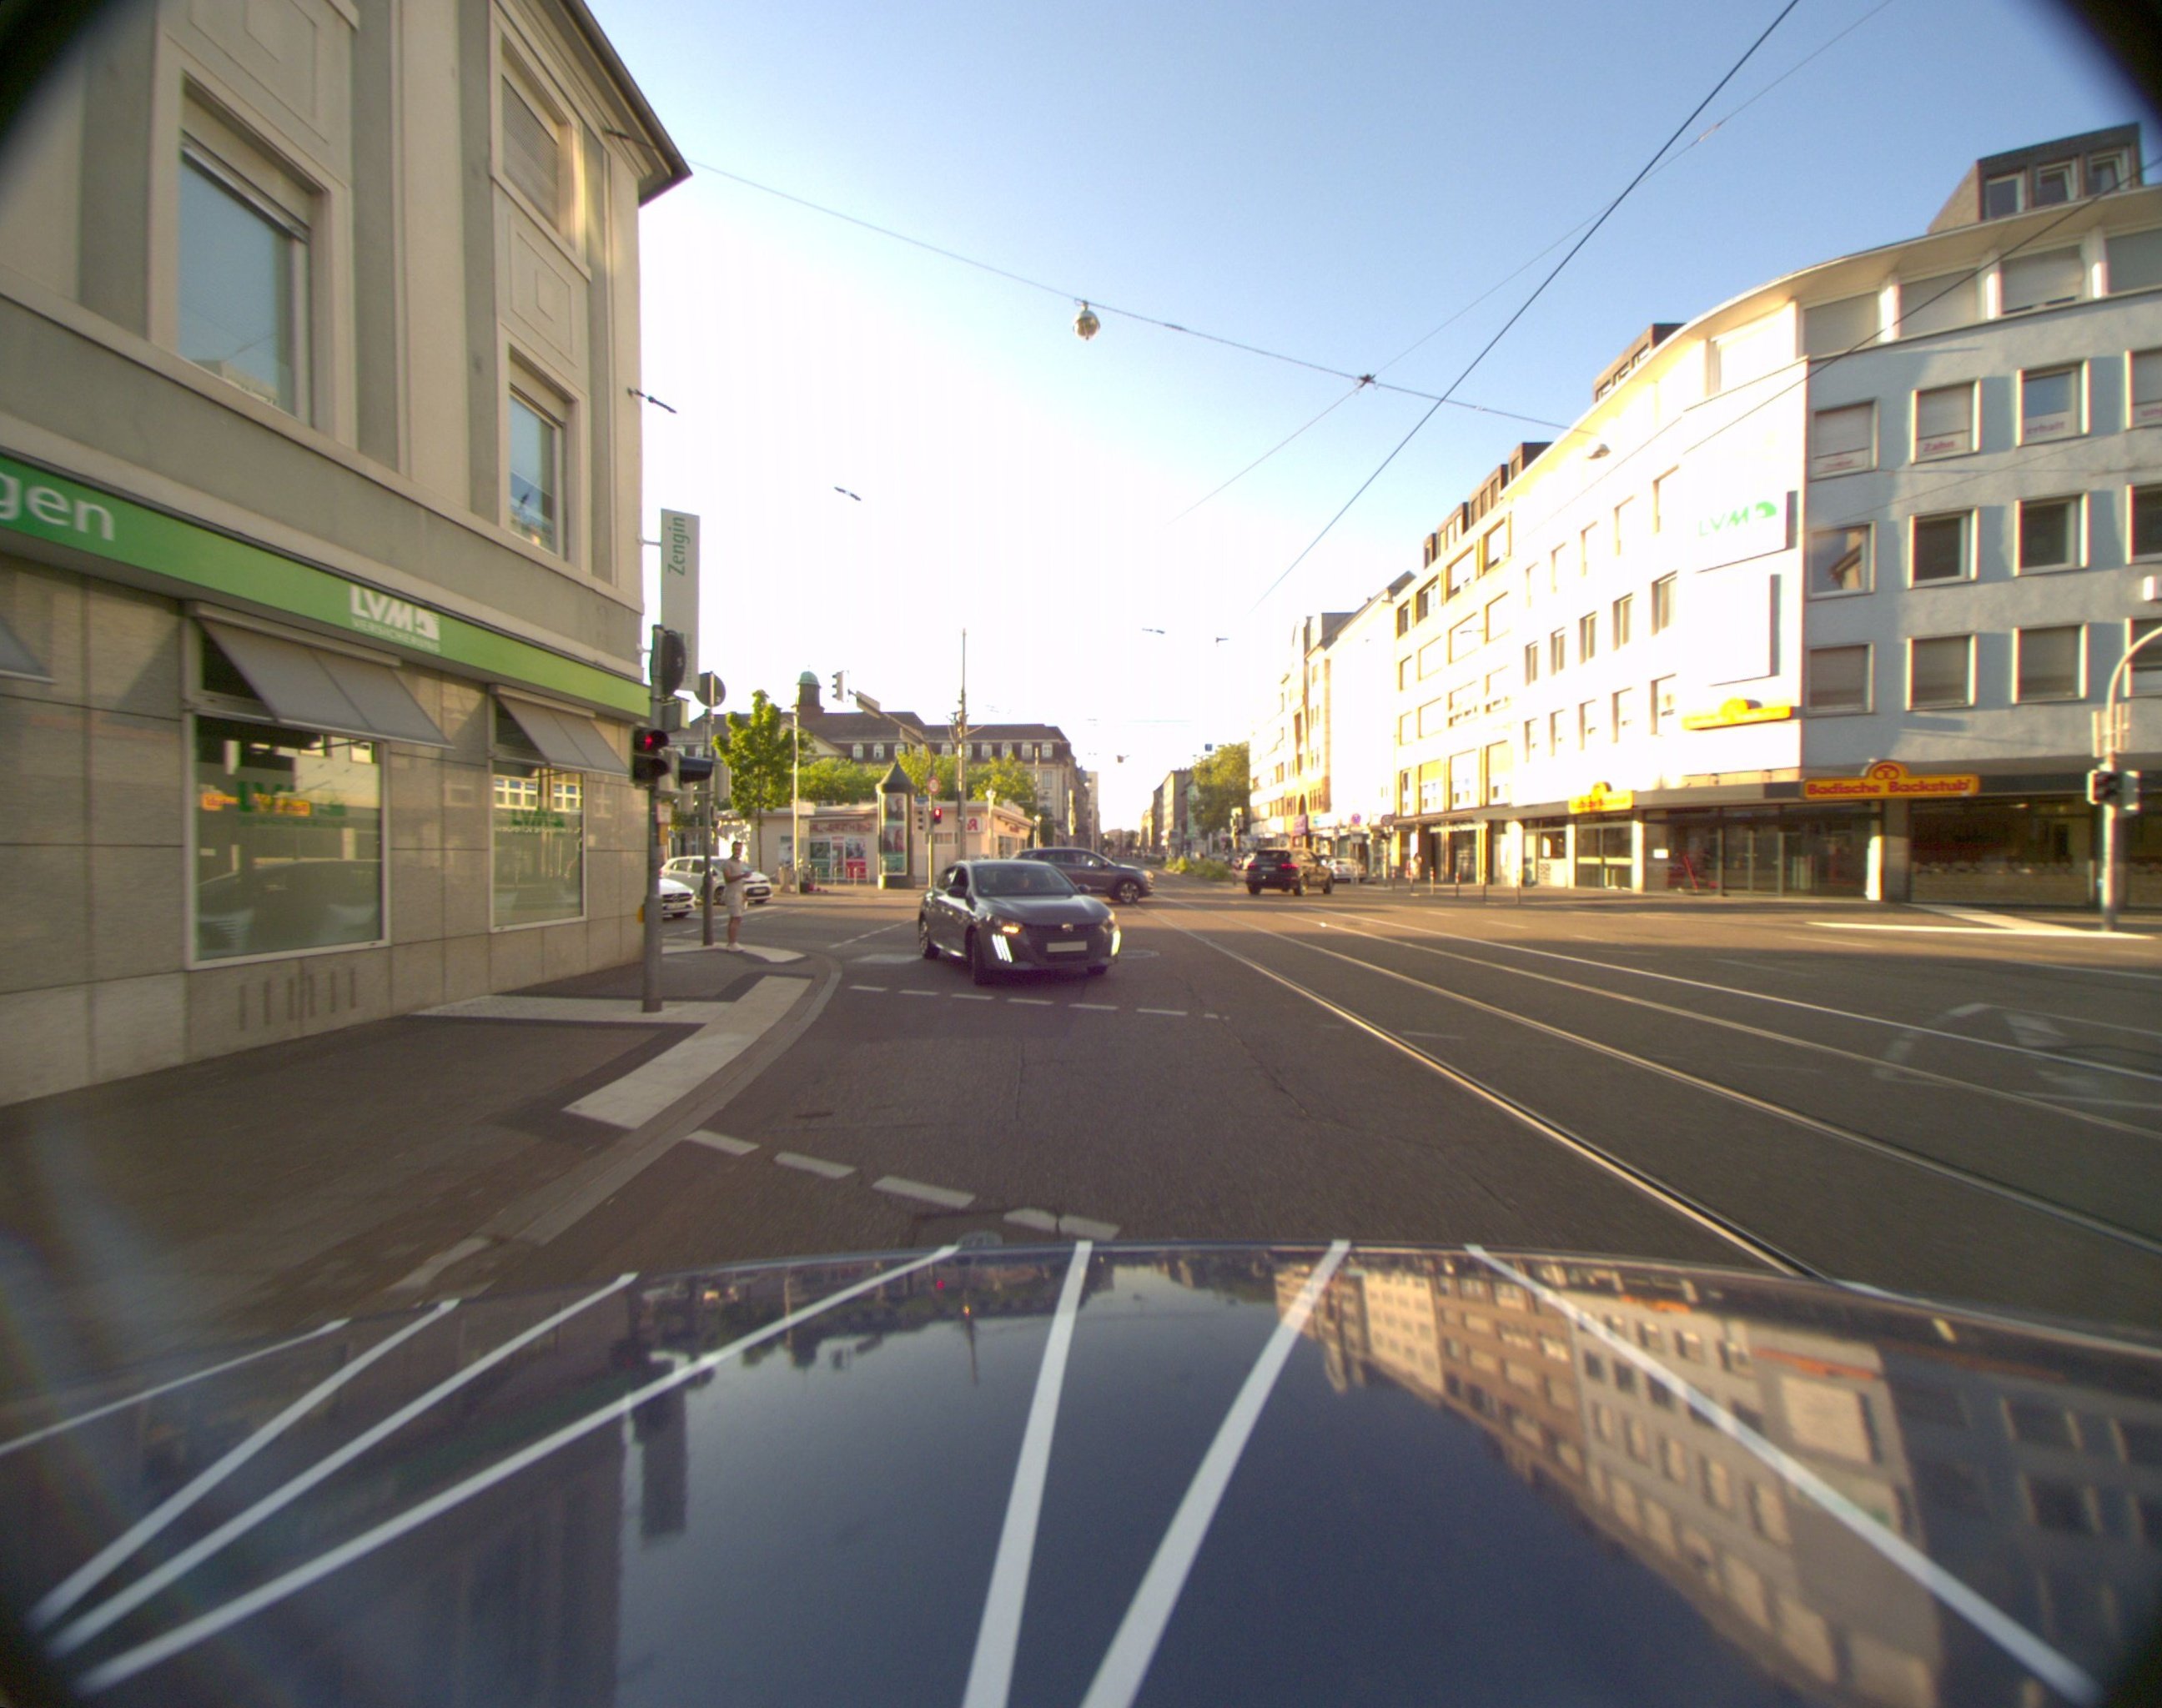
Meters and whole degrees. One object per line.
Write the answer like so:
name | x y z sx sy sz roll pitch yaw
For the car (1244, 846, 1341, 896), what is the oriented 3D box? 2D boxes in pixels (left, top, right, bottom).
car | 7.781 0.571 27.671 1.801 1.688 4.579 0 0 38

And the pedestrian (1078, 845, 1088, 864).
pedestrian | 0.224 0.027 83.230 0.839 2.003 0.715 0 4 17

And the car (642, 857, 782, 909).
car | -11.594 0.846 23.885 3.975 1.463 1.722 1 1 22

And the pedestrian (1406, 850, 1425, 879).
pedestrian | 17.431 0.554 39.570 0.544 1.463 0.624 -4 1 -13

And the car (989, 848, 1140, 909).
car | -0.528 0.666 22.262 4.259 1.688 1.827 0 1 -7

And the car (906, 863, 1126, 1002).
car | -1.087 0.887 10.335 1.754 1.434 3.898 -2 0 -24

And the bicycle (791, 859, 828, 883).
bicycle | -13.051 0.820 36.529 0.447 1.107 1.875 1 1 27

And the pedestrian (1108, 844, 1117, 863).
pedestrian | 3.492 -0.085 84.385 0.716 2.003 0.839 -3 5 -32

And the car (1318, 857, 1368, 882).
car | 14.249 0.815 41.435 1.636 1.246 3.389 -3 0 3

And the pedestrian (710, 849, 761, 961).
pedestrian | -5.526 0.792 12.194 0.654 1.732 0.693 0 1 -19

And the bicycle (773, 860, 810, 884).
bicycle | -14.064 0.858 36.972 0.447 1.107 1.875 1 1 27

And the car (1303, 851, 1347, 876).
car | 14.757 0.556 46.113 1.636 1.345 3.389 -3 0 3

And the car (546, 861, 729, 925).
car | -11.244 0.940 19.321 3.976 1.463 1.831 0 1 19

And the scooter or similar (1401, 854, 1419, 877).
scooter or similar | 17.952 0.609 41.428 0.395 1.251 1.467 -2 0 4
